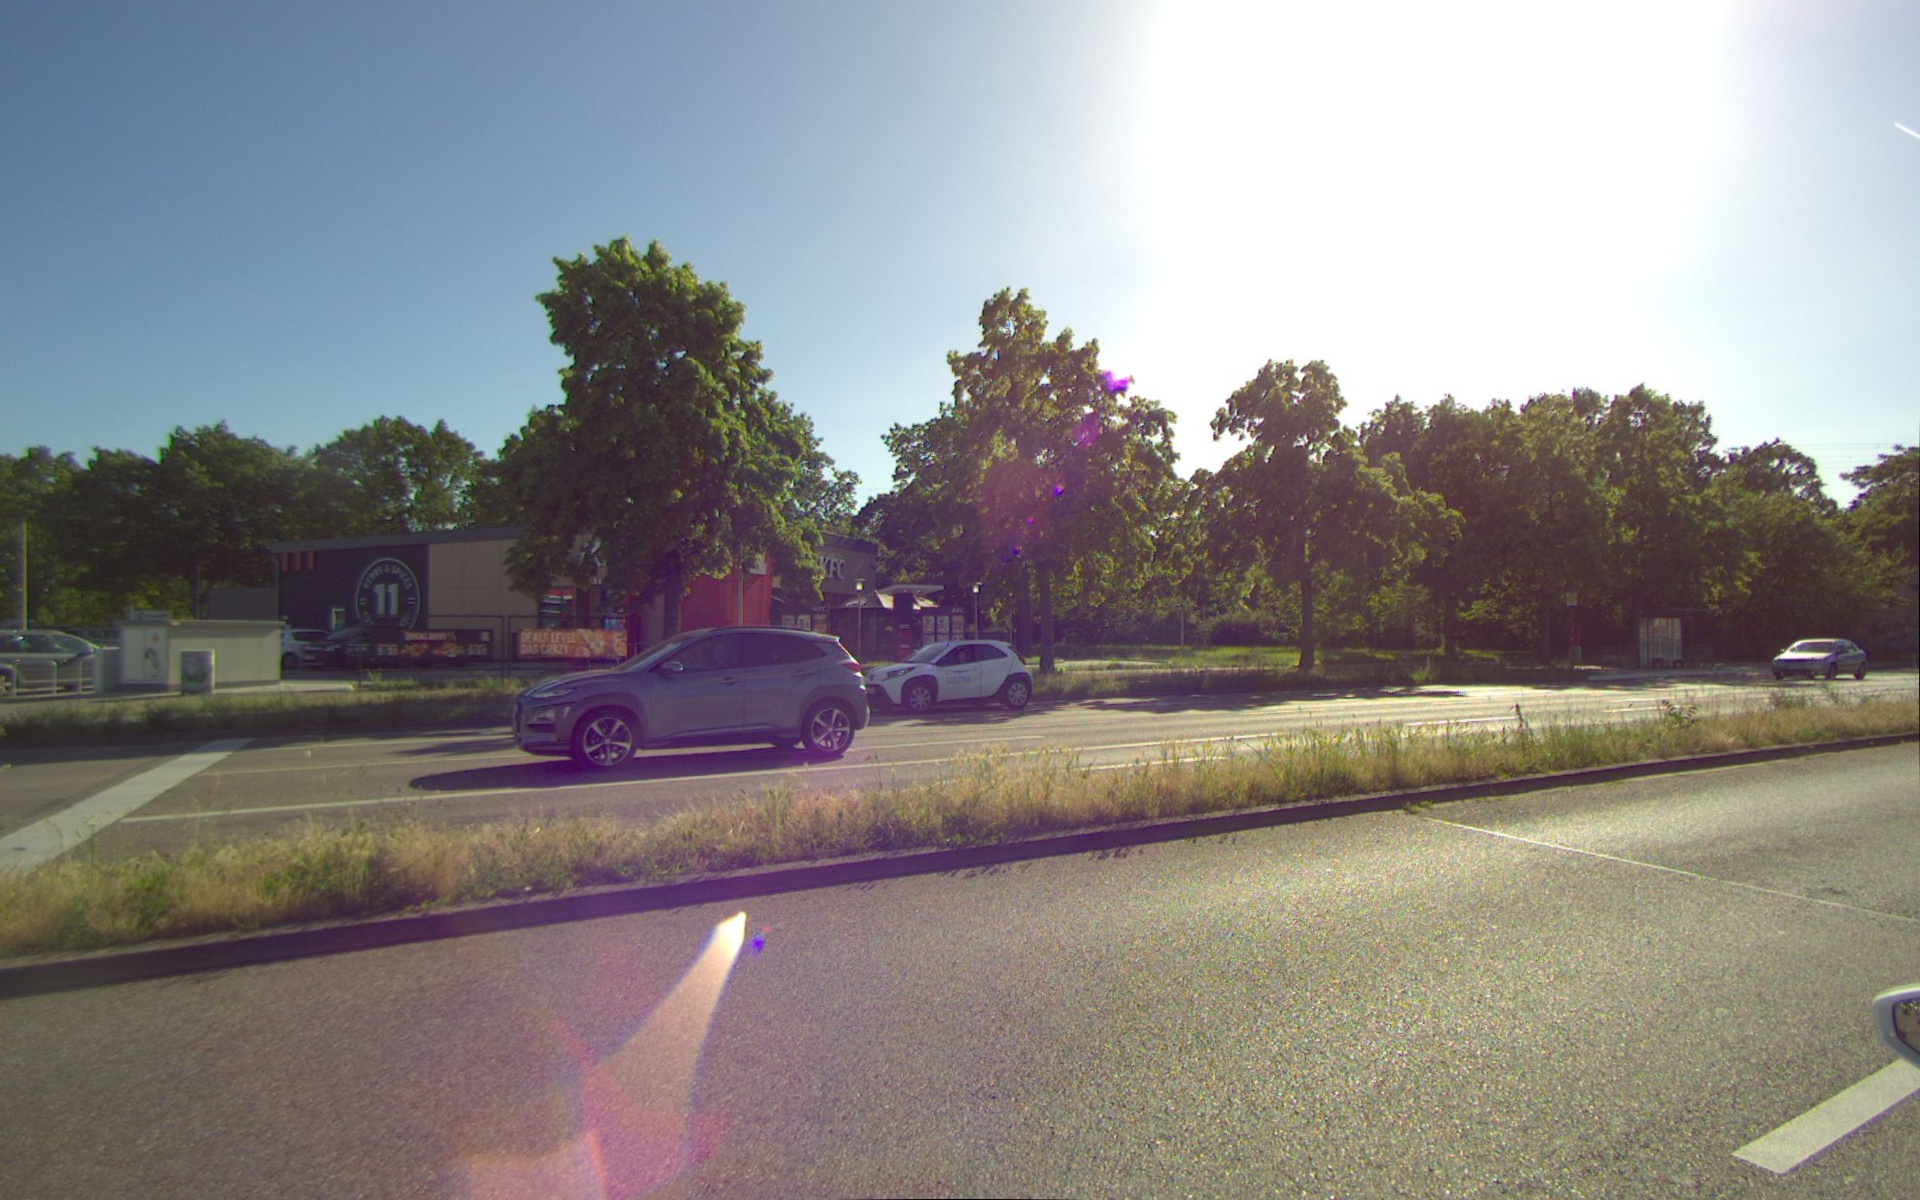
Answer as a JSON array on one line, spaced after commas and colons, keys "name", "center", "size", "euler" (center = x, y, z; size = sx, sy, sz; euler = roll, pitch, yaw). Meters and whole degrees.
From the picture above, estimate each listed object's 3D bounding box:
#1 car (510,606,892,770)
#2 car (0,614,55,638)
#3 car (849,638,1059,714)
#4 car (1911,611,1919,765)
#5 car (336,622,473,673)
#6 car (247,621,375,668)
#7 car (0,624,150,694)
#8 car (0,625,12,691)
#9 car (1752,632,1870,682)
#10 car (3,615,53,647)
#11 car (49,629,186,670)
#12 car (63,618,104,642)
[{"name": "car", "center": [-3.065, 0.993, 12.099], "size": [4.122, 1.663, 1.866], "euler": [2, -4, -30]}, {"name": "car", "center": [-76.539, 2.153, 82.241], "size": [4.699, 1.822, 2.099], "euler": [-2, -3, 27]}, {"name": "car", "center": [-0.103, 1.591, 21.806], "size": [4.147, 1.493, 1.984], "euler": [2, -2, -30]}, {"name": "car", "center": [12.298, 0.981, 10.969], "size": [4.175, 1.619, 1.699], "euler": [2, -1, -31]}, {"name": "car", "center": [-20.189, 1.666, 36.700], "size": [1.858, 1.684, 4.244], "euler": [1, -1, 17]}, {"name": "car", "center": [-25.373, 1.725, 39.461], "size": [1.845, 1.771, 4.002], "euler": [0, -2, 15]}, {"name": "car", "center": [-24.142, 1.498, 26.358], "size": [1.858, 1.684, 4.134], "euler": [1, -1, 17]}, {"name": "car", "center": [-28.762, 1.614, 27.369], "size": [1.811, 1.875, 3.830], "euler": [1, -1, 20]}, {"name": "car", "center": [30.717, 2.049, 36.254], "size": [4.128, 1.706, 1.984], "euler": [2, -3, -30]}, {"name": "car", "center": [-56.447, 1.903, 60.879], "size": [1.893, 1.867, 4.252], "euler": [2, -4, -39]}, {"name": "car", "center": [-34.905, 2.009, 41.750], "size": [1.845, 1.539, 4.002], "euler": [1, -1, 15]}, {"name": "car", "center": [-64.309, 2.212, 73.708], "size": [4.242, 1.689, 1.898], "euler": [-3, -4, 44]}]
